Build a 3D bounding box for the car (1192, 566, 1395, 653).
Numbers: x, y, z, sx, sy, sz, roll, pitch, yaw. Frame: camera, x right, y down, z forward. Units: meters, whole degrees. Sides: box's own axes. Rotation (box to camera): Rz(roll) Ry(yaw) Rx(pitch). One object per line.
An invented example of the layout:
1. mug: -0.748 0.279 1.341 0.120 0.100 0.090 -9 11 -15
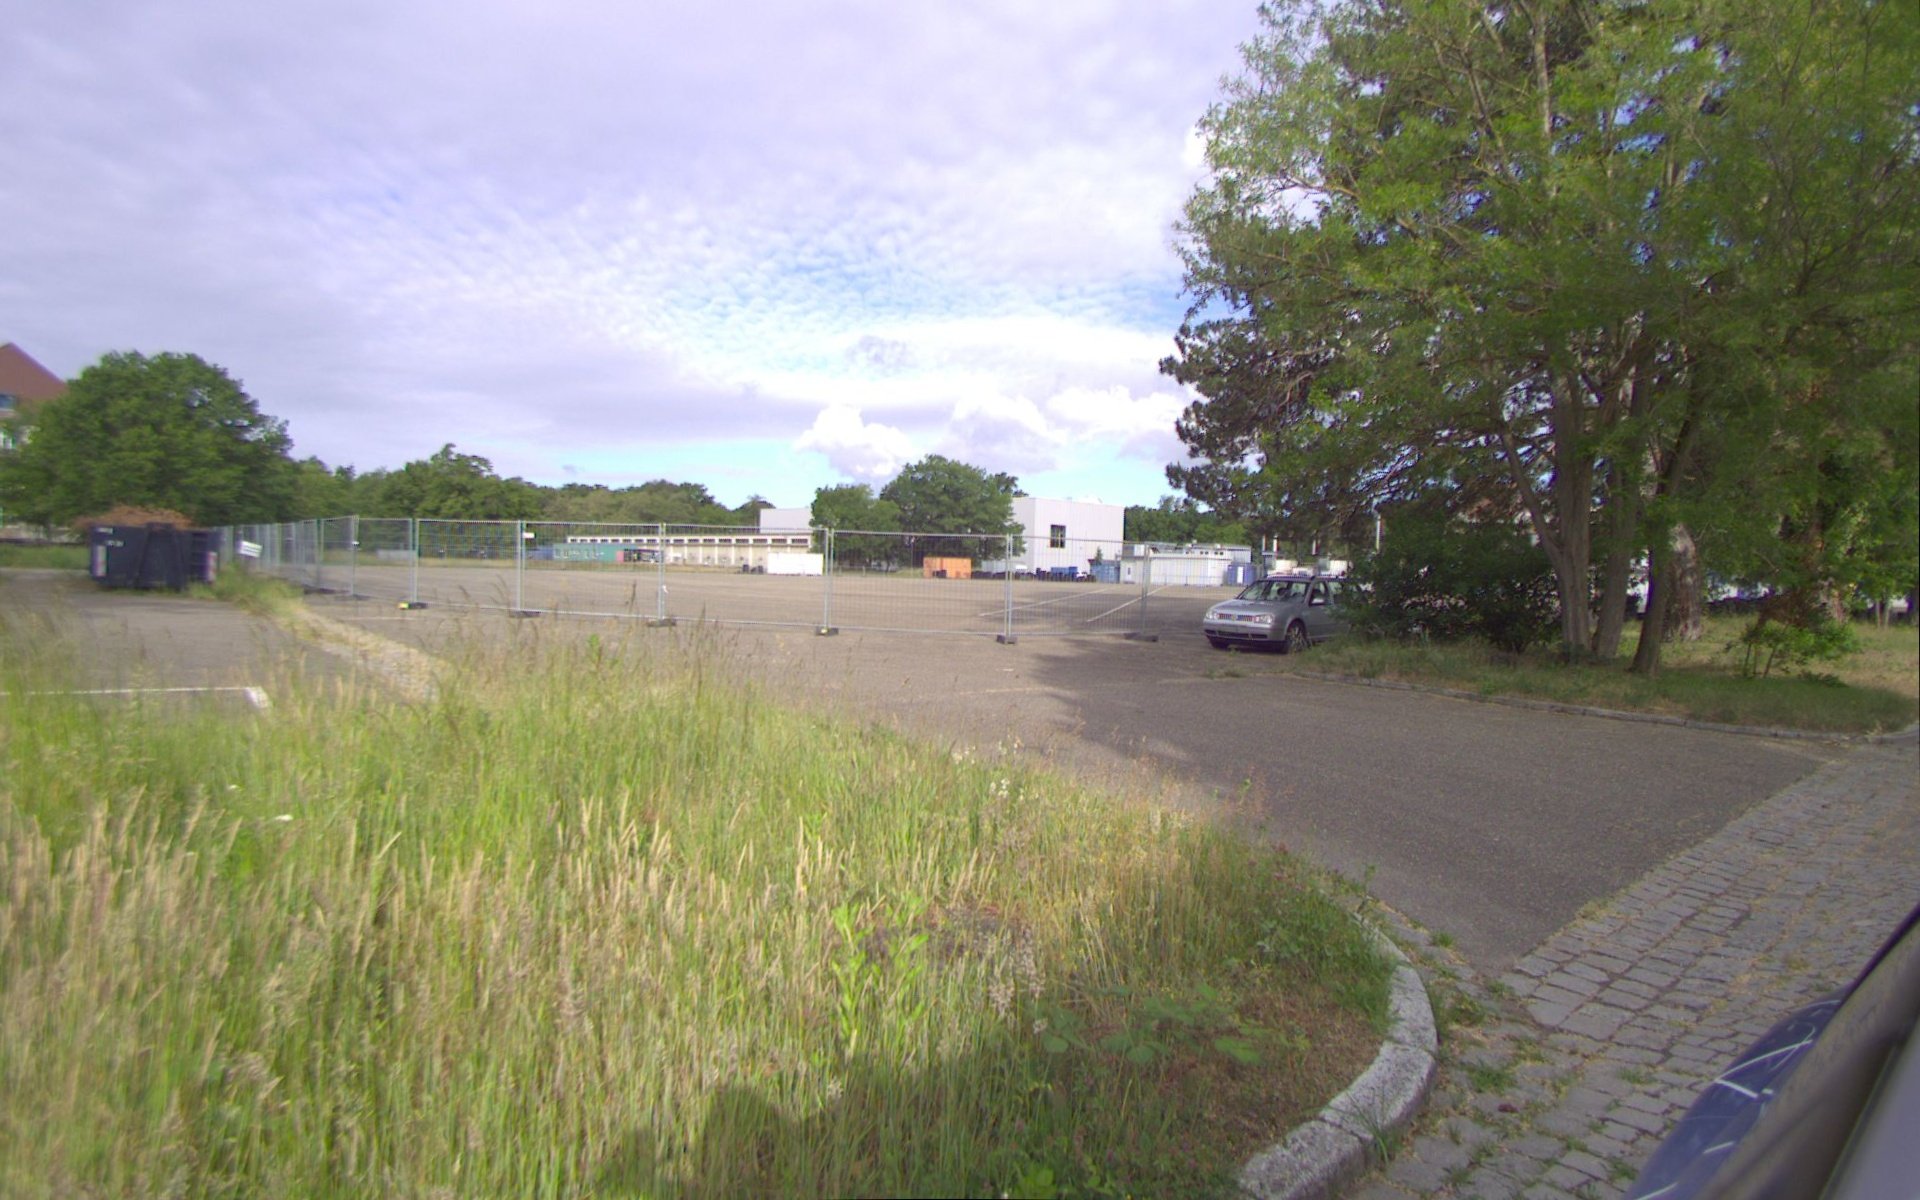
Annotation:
1. car: 6.546 0.147 19.671 4.251 1.466 1.759 0 3 -40
